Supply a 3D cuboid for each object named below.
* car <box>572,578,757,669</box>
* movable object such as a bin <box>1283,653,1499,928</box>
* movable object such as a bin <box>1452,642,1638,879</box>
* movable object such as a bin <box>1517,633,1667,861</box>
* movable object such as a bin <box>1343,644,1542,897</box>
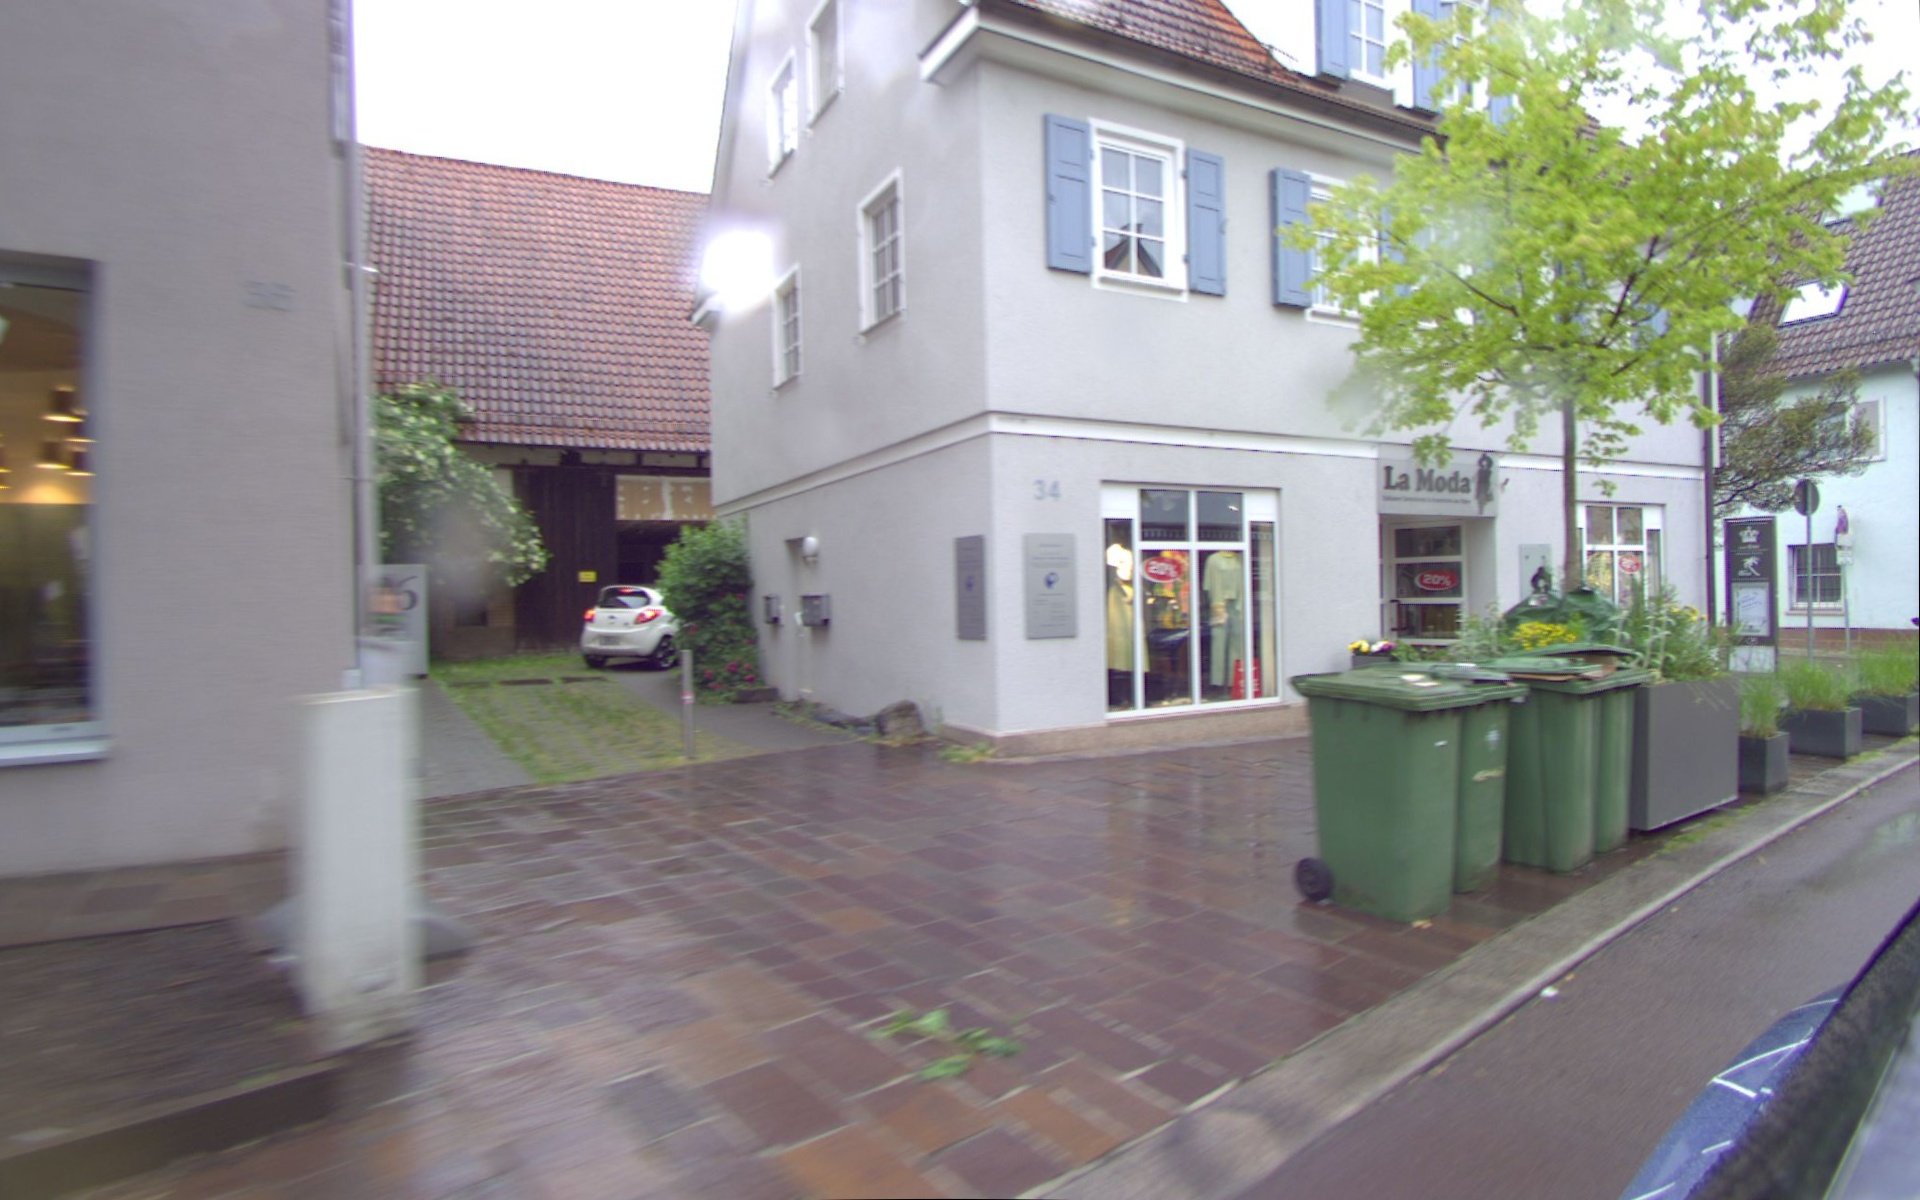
[{"bbox_3d":[-5.465,0.351,19.226,1.563,1.496,3.982,1,2,15],"label":"car"},{"bbox_3d":[2.004,0.830,4.741,0.566,1.093,0.731,-2,1,-35],"label":"movable object such as a bin"},{"bbox_3d":[3.148,0.816,5.463,0.551,1.115,0.695,-2,1,-35],"label":"movable object such as a bin"},{"bbox_3d":[3.617,0.800,5.799,0.566,1.170,0.545,-2,1,-35],"label":"movable object such as a bin"},{"bbox_3d":[2.457,0.816,5.178,0.551,1.115,0.731,-2,1,-35],"label":"movable object such as a bin"}]
